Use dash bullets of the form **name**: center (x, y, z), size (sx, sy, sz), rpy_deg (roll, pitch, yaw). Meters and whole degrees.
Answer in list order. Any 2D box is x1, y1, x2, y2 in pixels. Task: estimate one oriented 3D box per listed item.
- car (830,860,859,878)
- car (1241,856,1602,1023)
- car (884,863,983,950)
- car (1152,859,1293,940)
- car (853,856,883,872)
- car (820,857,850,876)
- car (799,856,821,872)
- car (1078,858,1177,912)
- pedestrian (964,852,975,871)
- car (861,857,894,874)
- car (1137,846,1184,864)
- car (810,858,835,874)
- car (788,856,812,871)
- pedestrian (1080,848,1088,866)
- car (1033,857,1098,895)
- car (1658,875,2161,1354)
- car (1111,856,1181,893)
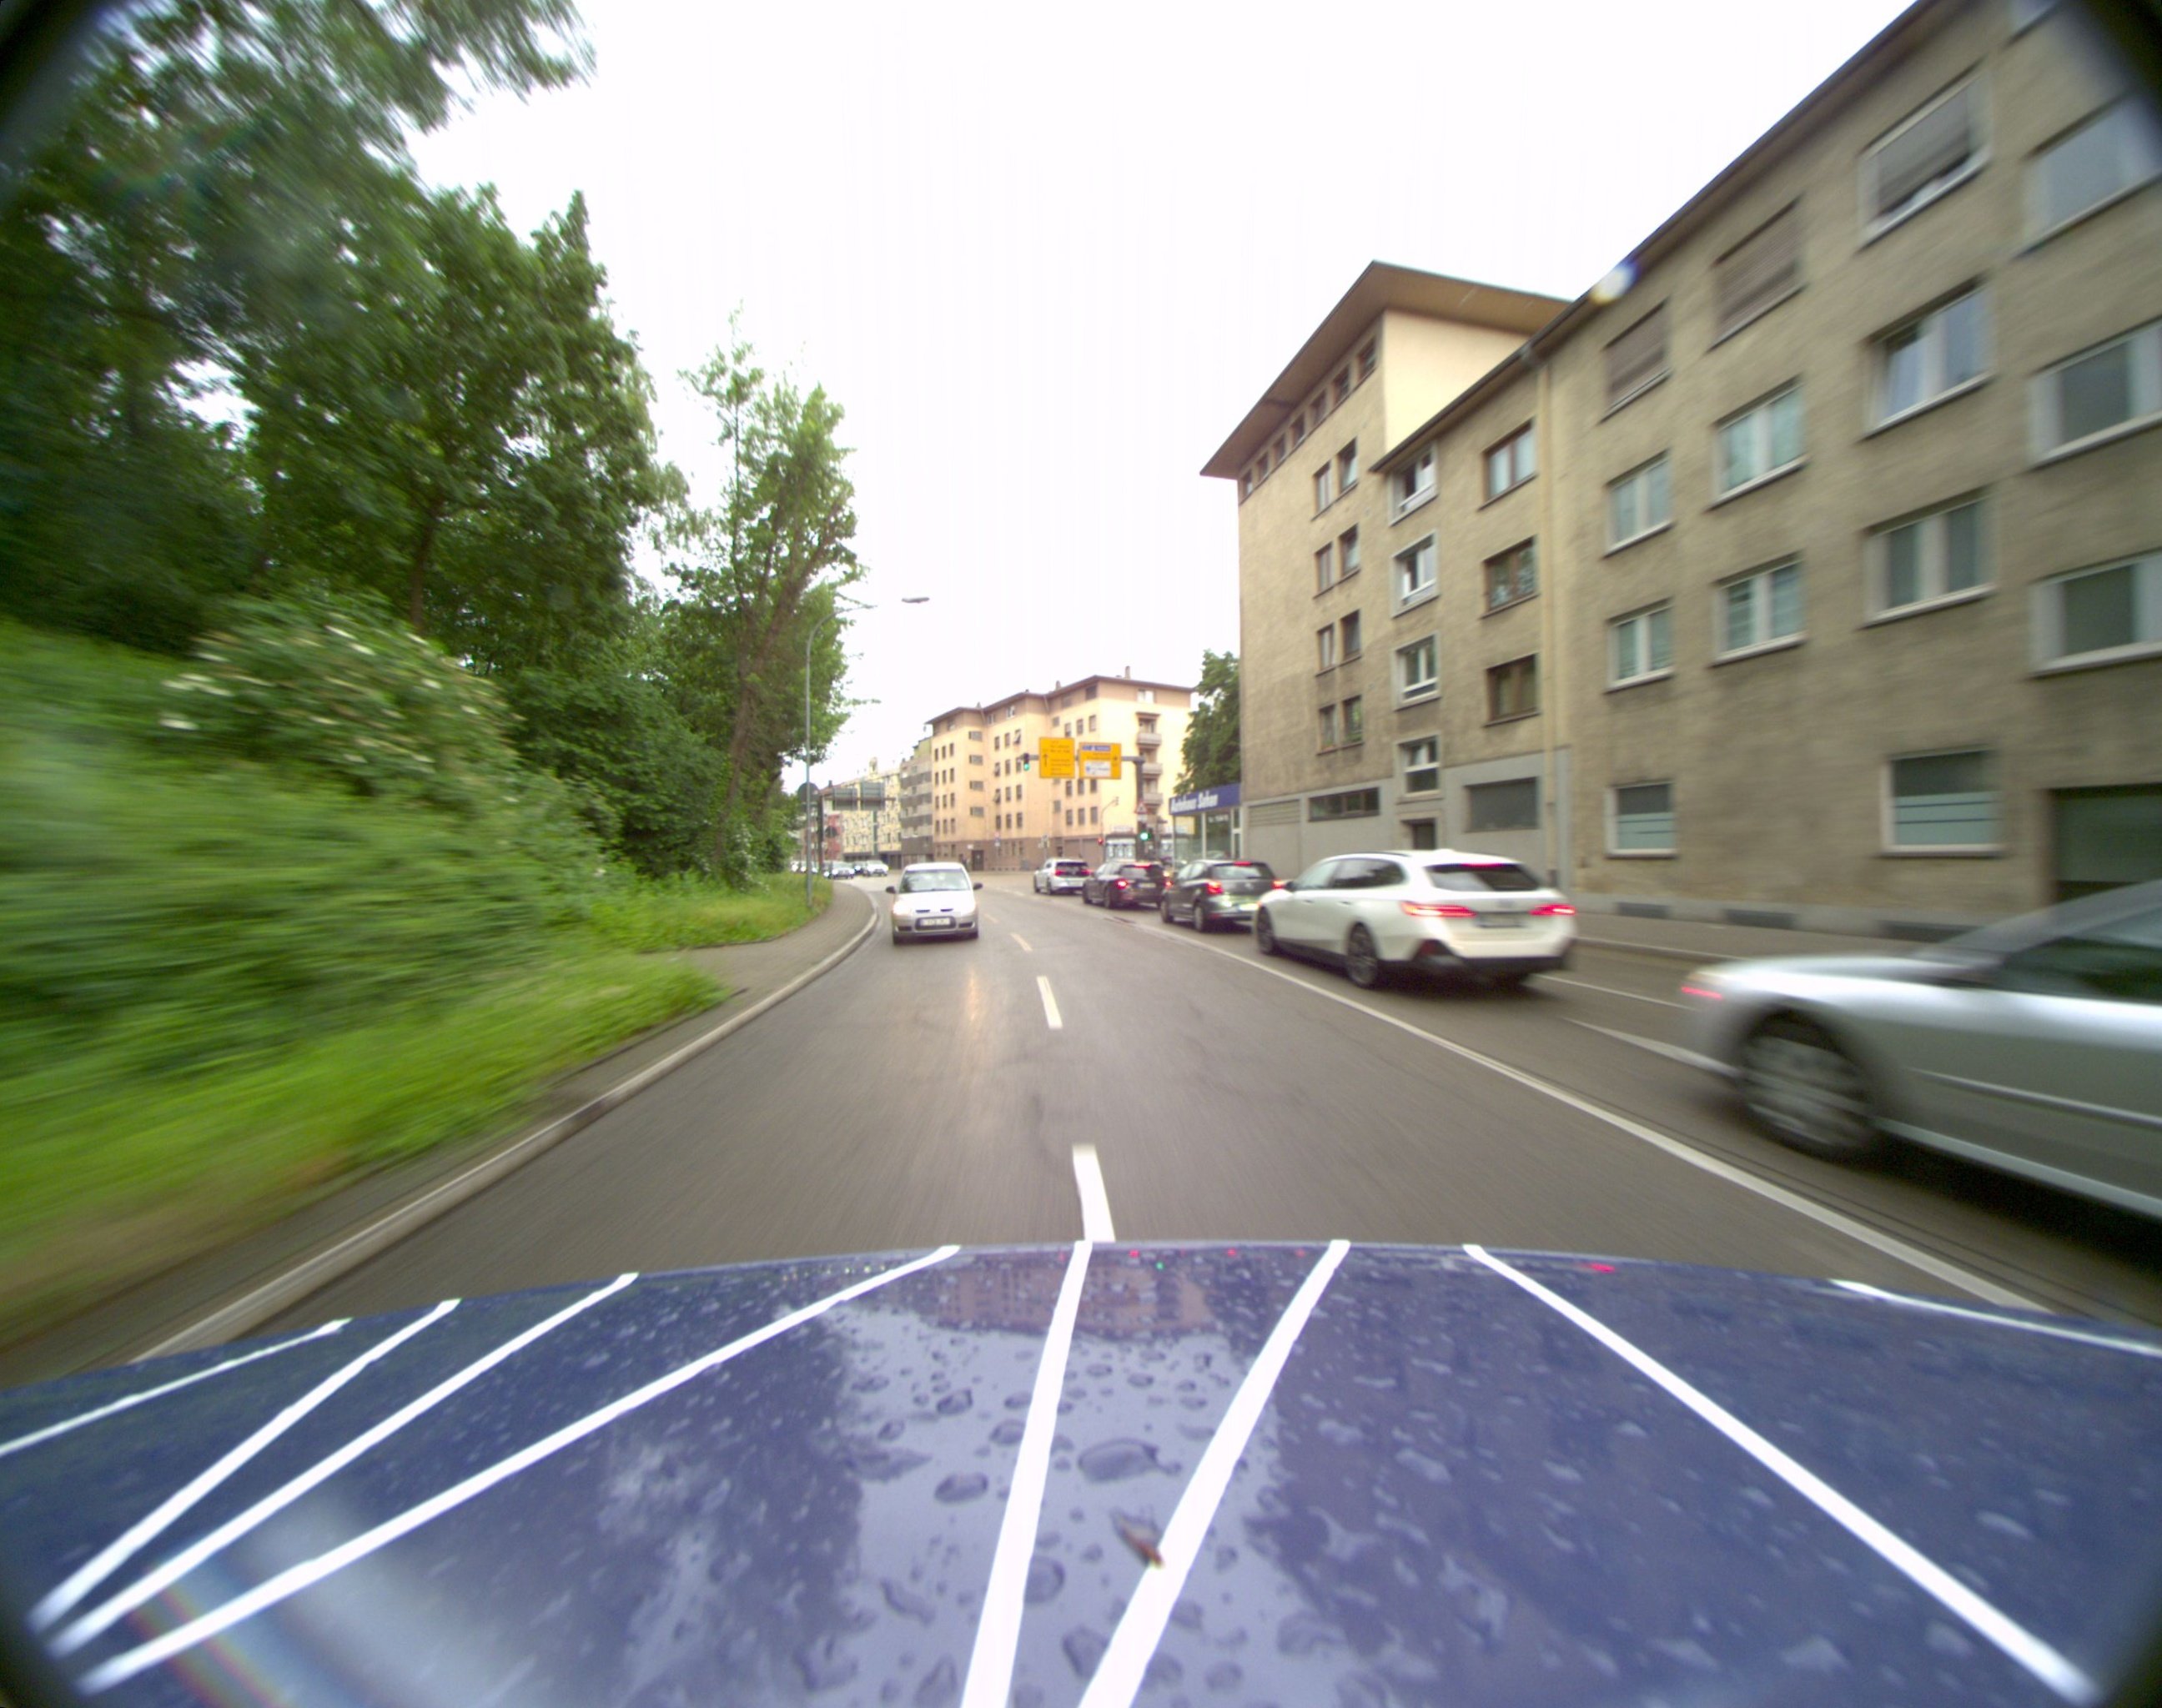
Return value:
- **car**: center (-20.591, 1.267, 66.116), size (1.822, 1.400, 4.223), rpy_deg (-2, 1, -25)
- **car**: center (3.721, 0.788, 9.565), size (1.826, 1.507, 5.025), rpy_deg (0, 0, -7)
- **car**: center (-3.106, 1.000, 16.238), size (1.754, 1.510, 3.996), rpy_deg (-3, 0, -10)
- **car**: center (2.809, 0.844, 15.915), size (1.685, 1.439, 3.816), rpy_deg (0, 0, -10)
- **car**: center (-21.515, 1.005, 76.495), size (1.923, 1.469, 4.609), rpy_deg (-2, 0, -28)
- **car**: center (-23.212, 1.164, 71.552), size (2.002, 1.607, 4.610), rpy_deg (-2, 1, -26)
- **car**: center (-30.307, 1.089, 84.871), size (1.684, 1.646, 3.991), rpy_deg (-2, 0, -29)
- **car**: center (1.295, 0.855, 23.155), size (1.797, 1.399, 4.620), rpy_deg (-1, 0, -13)
- **pedestrian**: center (-12.038, 0.834, 82.304), size (0.812, 2.002, 0.857), rpy_deg (-3, 0, -31)
- **car**: center (-19.249, 1.052, 71.632), size (1.882, 1.469, 4.544), rpy_deg (-2, 0, -29)
- **car**: center (7.288, 0.067, 69.881), size (1.763, 1.638, 4.270), rpy_deg (-3, 2, -40)
- **car**: center (-27.099, 1.246, 79.658), size (1.684, 1.646, 3.991), rpy_deg (-2, 0, -29)
- **car**: center (-33.840, 1.132, 91.552), size (1.913, 1.701, 4.885), rpy_deg (-3, 1, -29)
- **pedestrian**: center (0.298, 0.281, 69.182), size (0.582, 1.629, 0.618), rpy_deg (-1, 1, -9)
- **car**: center (-0.714, 0.864, 31.837), size (1.792, 1.487, 4.210), rpy_deg (0, 0, -15)
- **car**: center (4.301, 0.851, 2.077), size (1.757, 1.417, 4.535), rpy_deg (-1, 0, -5)
- **car**: center (2.674, 0.826, 32.025), size (1.664, 1.447, 3.994), rpy_deg (0, 0, -15)
